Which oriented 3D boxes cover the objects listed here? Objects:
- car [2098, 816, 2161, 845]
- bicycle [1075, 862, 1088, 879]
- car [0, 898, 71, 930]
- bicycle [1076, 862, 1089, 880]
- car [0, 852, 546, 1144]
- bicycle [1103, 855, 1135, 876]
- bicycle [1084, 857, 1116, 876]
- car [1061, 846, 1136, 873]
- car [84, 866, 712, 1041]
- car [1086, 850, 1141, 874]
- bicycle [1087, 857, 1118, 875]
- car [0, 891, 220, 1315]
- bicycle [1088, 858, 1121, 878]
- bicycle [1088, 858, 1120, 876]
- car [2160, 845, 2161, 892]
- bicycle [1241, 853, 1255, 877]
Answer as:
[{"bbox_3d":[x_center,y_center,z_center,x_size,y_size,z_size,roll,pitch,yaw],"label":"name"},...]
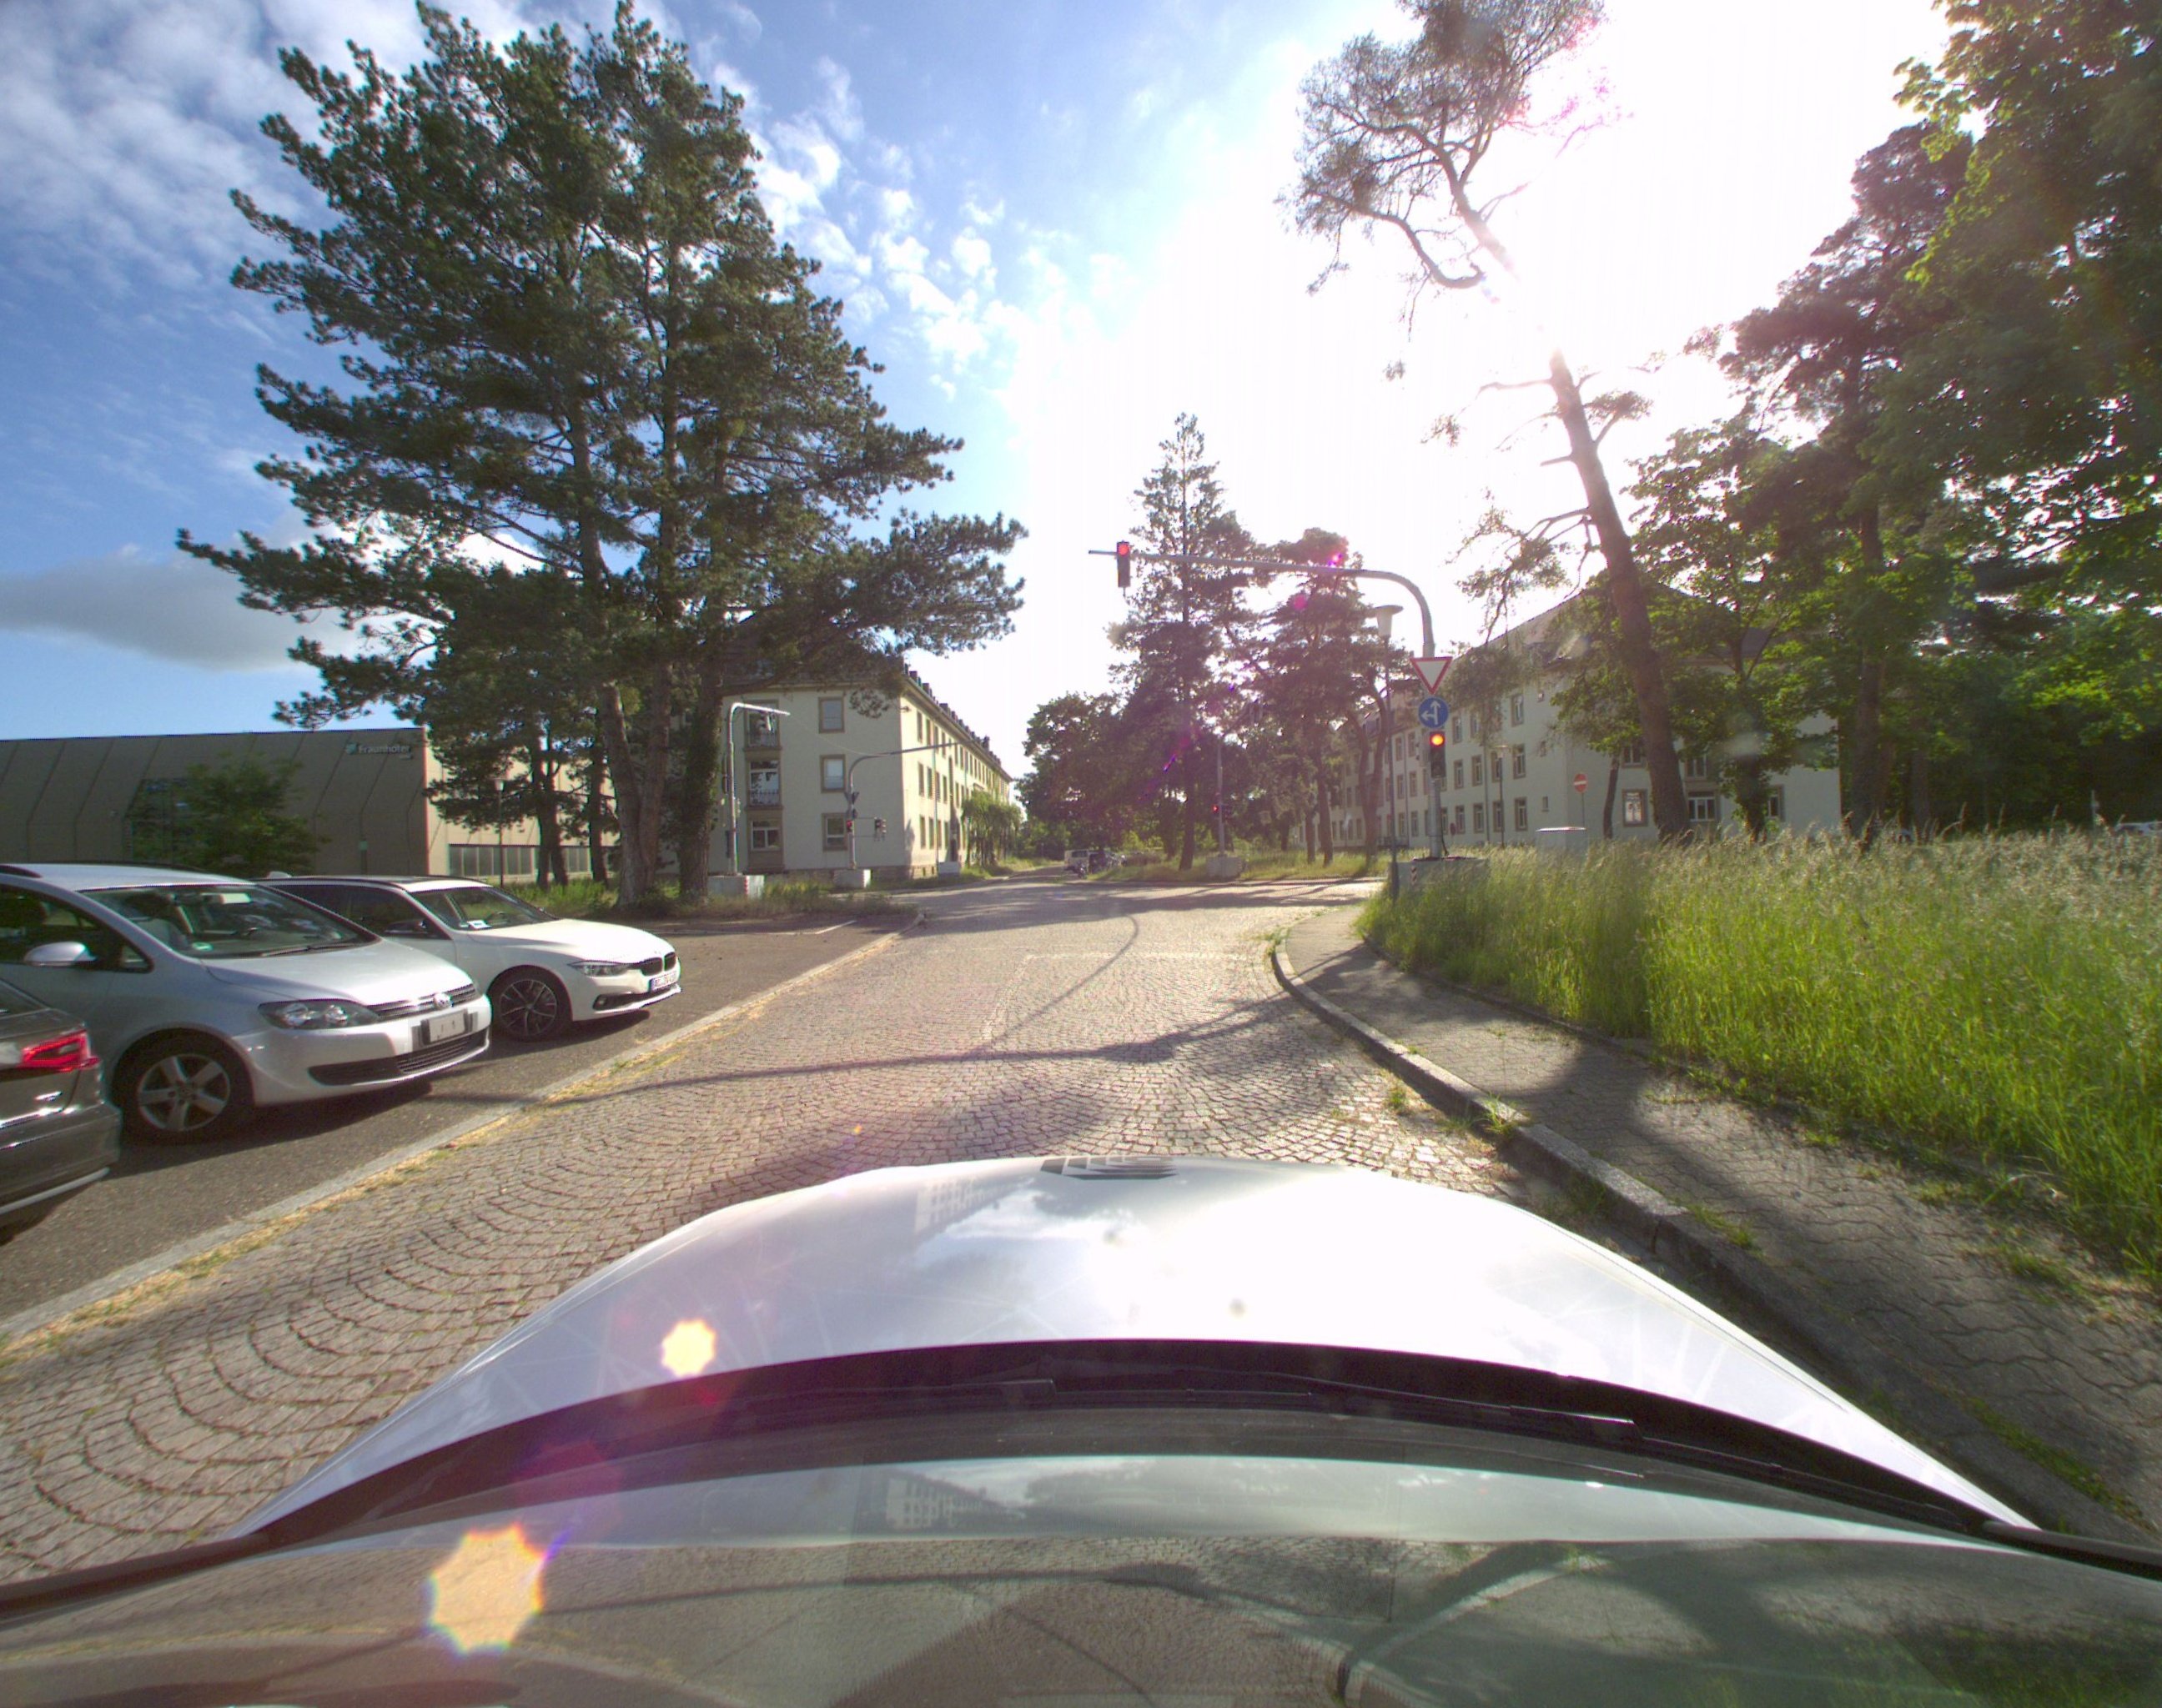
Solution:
[{"bbox_3d":[57.571,-1.281,43.636,3.978,1.464,1.845,-2,0,-3],"label":"car"},{"bbox_3d":[0.038,0.956,48.239,0.693,0.971,1.859,-1,0,-2],"label":"bicycle"},{"bbox_3d":[-48.168,2.716,36.155,1.481,1.294,4.054,-2,0,3],"label":"car"},{"bbox_3d":[0.084,0.956,46.298,0.693,0.971,1.859,-1,0,-2],"label":"bicycle"},{"bbox_3d":[-6.168,0.820,5.448,3.936,1.626,1.719,1,0,-4],"label":"car"},{"bbox_3d":[2.391,0.715,51.292,1.936,1.235,0.485,-2,0,-3],"label":"bicycle"},{"bbox_3d":[1.198,0.821,51.804,1.951,1.129,0.642,-2,0,-27],"label":"bicycle"},{"bbox_3d":[1.432,0.453,67.722,5.924,2.013,2.470,-2,0,-7],"label":"car"},{"bbox_3d":[-6.307,0.890,7.972,4.529,1.467,1.751,1,0,-3],"label":"car"},{"bbox_3d":[2.512,0.632,63.559,3.984,1.684,1.842,-2,0,-8],"label":"car"},{"bbox_3d":[1.366,0.772,52.901,1.938,1.129,0.646,-2,0,-5],"label":"bicycle"},{"bbox_3d":[-5.750,0.886,2.746,3.786,1.471,1.687,1,0,-1],"label":"car"},{"bbox_3d":[1.459,0.857,50.587,1.936,1.129,0.749,-2,0,-3],"label":"bicycle"},{"bbox_3d":[1.411,0.815,49.789,1.850,1.031,0.749,-2,0,-3],"label":"bicycle"},{"bbox_3d":[4.651,0.613,1.060,4.003,1.460,1.871,-3,0,0],"label":"car"},{"bbox_3d":[7.728,0.512,37.669,0.464,1.080,1.175,-2,-1,4],"label":"bicycle"}]
